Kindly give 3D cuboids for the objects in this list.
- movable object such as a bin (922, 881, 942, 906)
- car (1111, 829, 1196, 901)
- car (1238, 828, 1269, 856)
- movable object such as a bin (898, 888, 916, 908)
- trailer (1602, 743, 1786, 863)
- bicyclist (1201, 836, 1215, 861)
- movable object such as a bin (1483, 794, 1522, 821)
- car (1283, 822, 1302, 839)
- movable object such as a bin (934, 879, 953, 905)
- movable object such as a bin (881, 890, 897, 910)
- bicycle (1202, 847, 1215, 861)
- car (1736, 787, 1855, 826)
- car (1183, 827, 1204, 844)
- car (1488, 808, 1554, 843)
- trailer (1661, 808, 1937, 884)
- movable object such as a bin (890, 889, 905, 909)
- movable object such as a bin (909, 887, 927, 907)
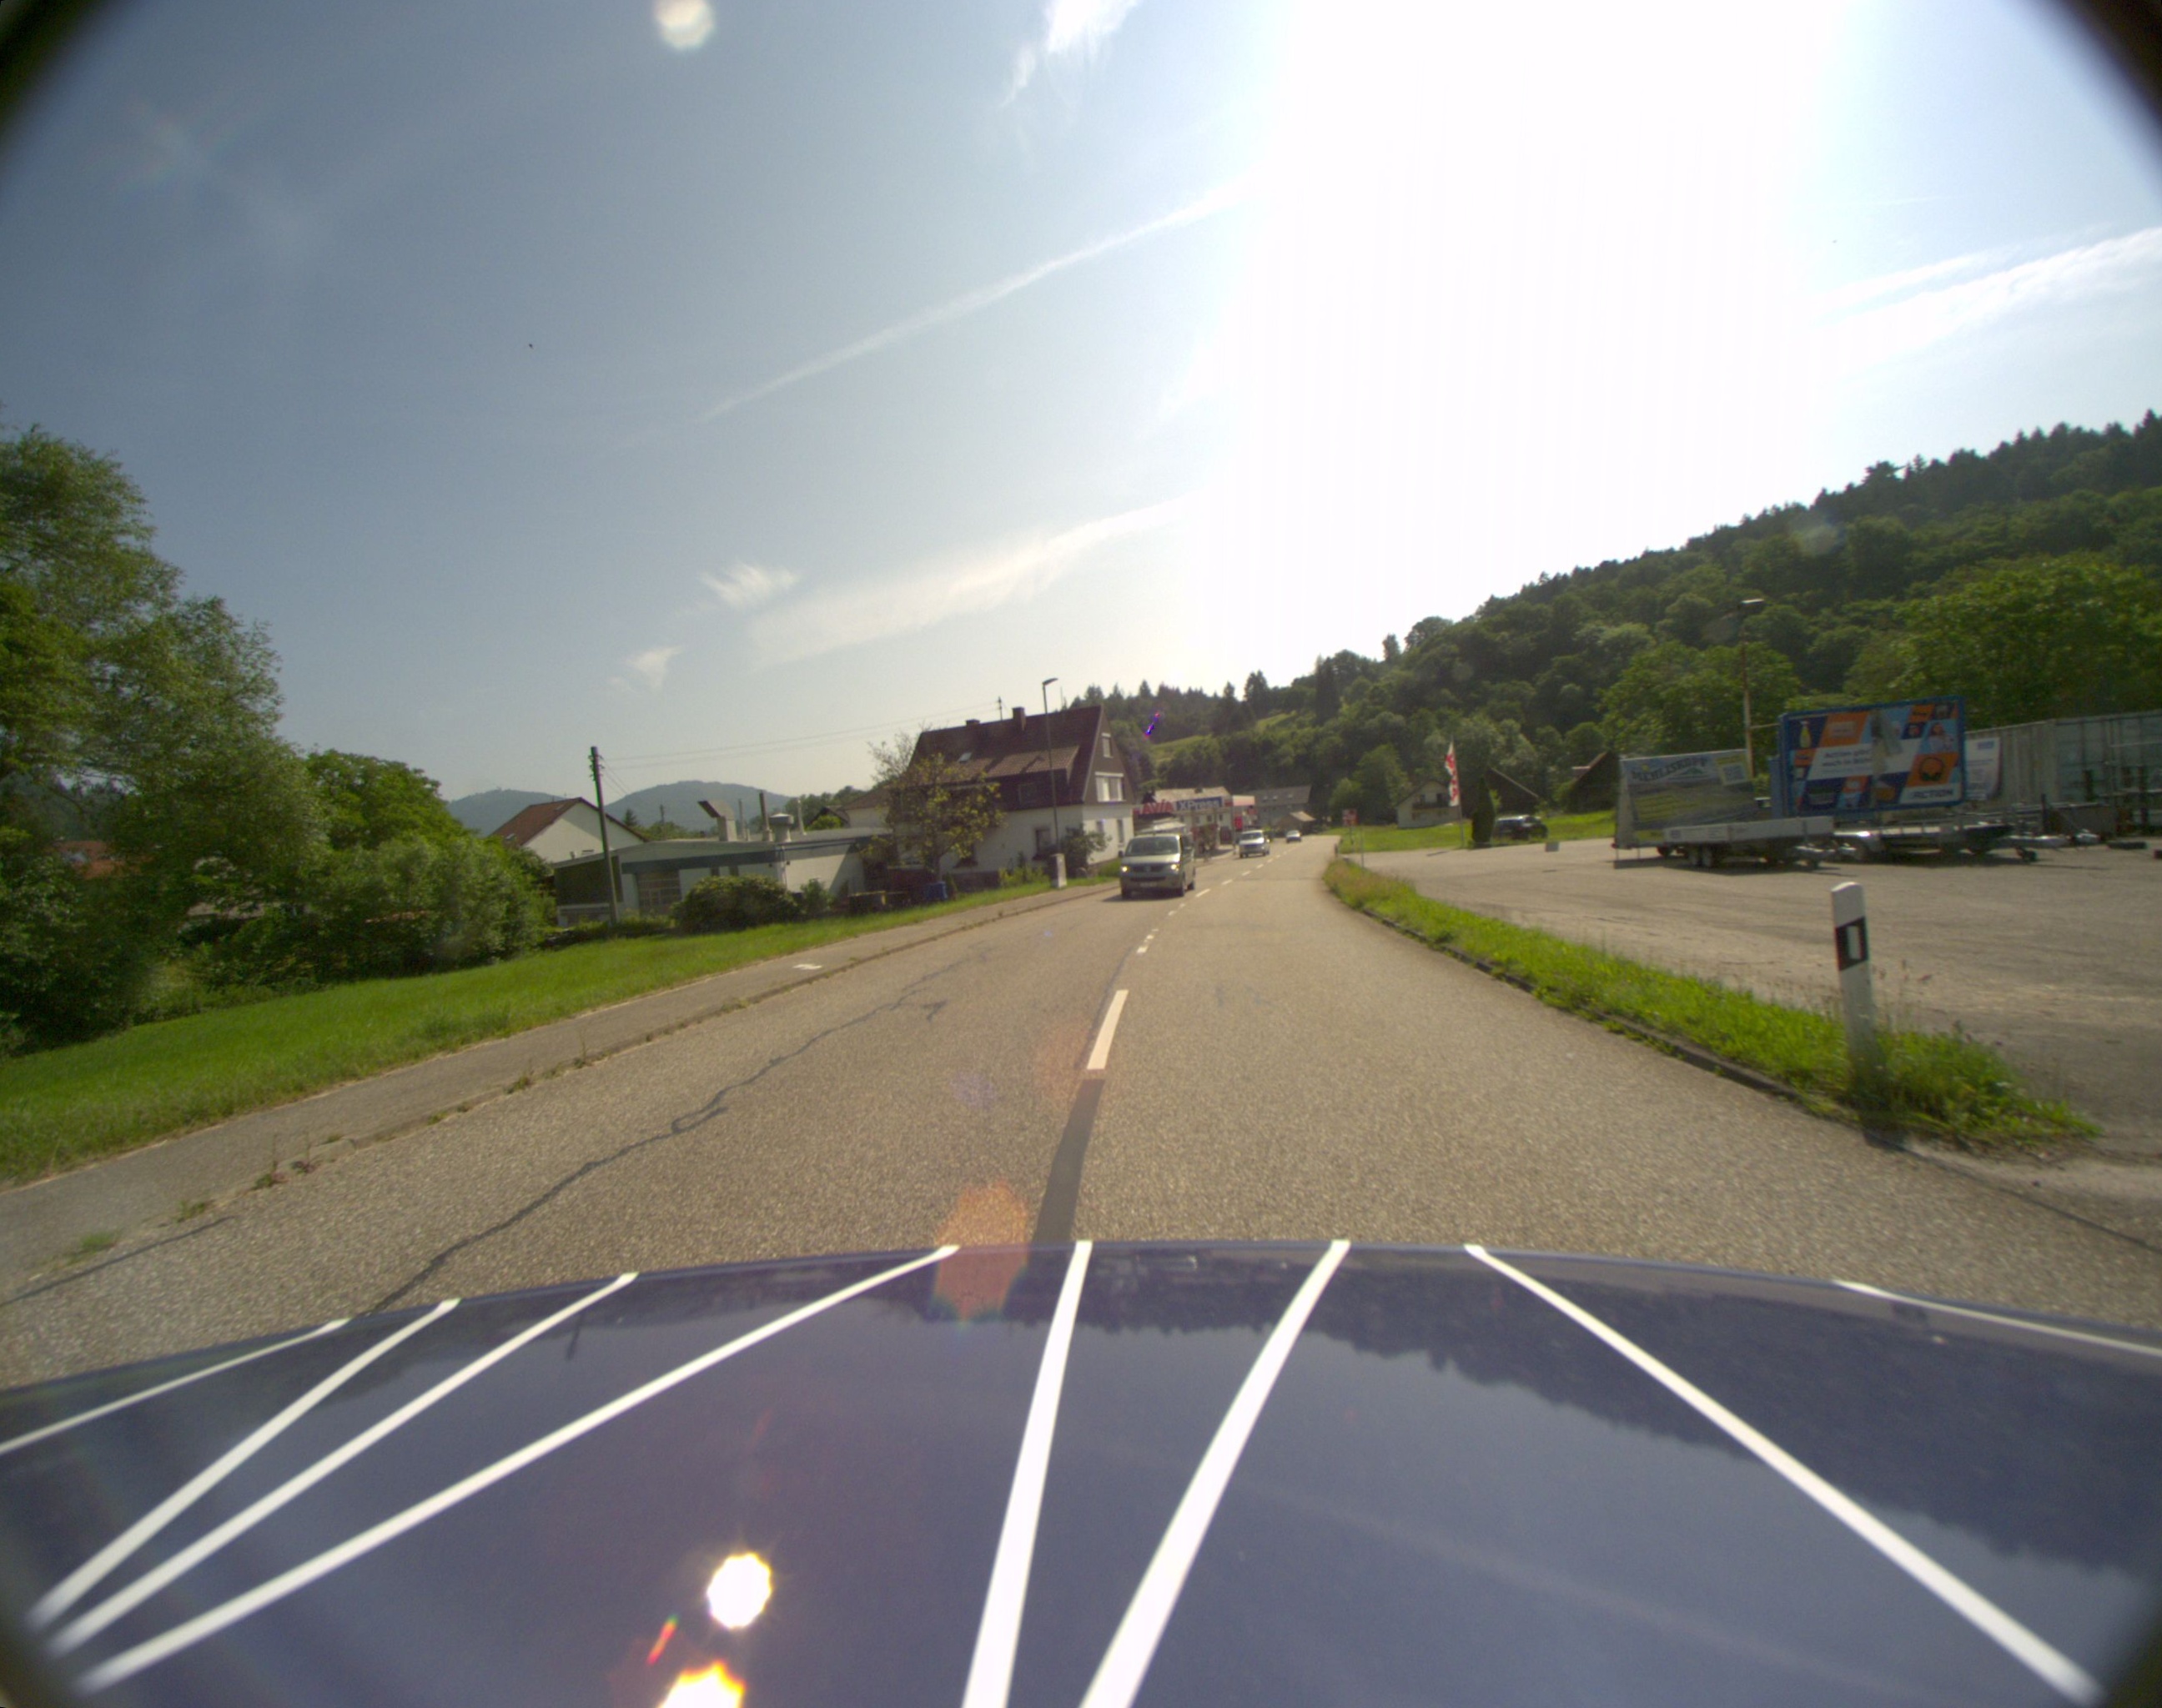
[{"bbox_3d":[-7.220,1.902,36.846,0.569,1.112,0.799,-6,2,10],"label":"movable object such as a bin"},{"bbox_3d":[2.461,0.260,24.382,2.022,1.971,5.052,-3,1,12],"label":"car"},{"bbox_3d":[12.810,-0.922,56.107,1.894,1.847,4.707,-4,1,16],"label":"car"},{"bbox_3d":[-8.485,2.153,37.046,0.569,0.895,0.586,-6,2,10],"label":"movable object such as a bin"},{"bbox_3d":[17.198,-1.375,21.508,3.397,2.895,1.885,-6,1,12],"label":"trailer"},{"bbox_3d":[8.982,-0.380,53.872,0.689,1.623,1.141,-7,-1,6],"label":"bicyclist"},{"bbox_3d":[55.188,-6.070,99.522,4.182,3.120,2.206,-4,1,34],"label":"movable object such as a bin"},{"bbox_3d":[26.281,-2.884,94.312,1.765,1.736,3.983,-5,3,21],"label":"car"},{"bbox_3d":[-6.638,1.837,36.752,0.569,1.112,0.793,-6,2,10],"label":"movable object such as a bin"},{"bbox_3d":[-9.398,2.254,37.223,0.419,0.895,0.586,-6,2,10],"label":"movable object such as a bin"},{"bbox_3d":[9.013,-0.001,53.865,0.689,0.912,1.951,-7,-1,6],"label":"bicycle"},{"bbox_3d":[35.022,-2.299,37.386,3.923,1.476,1.920,-5,1,33],"label":"car"},{"bbox_3d":[14.008,-2.337,94.598,1.682,1.805,4.003,-6,2,19],"label":"car"},{"bbox_3d":[25.394,-1.670,43.755,4.916,1.639,1.832,-5,1,-43],"label":"car"},{"bbox_3d":[15.491,-0.252,16.958,1.997,1.219,5.550,-6,1,15],"label":"trailer"},{"bbox_3d":[-8.975,2.207,37.143,0.419,0.895,0.586,-6,2,10],"label":"movable object such as a bin"},{"bbox_3d":[-7.906,2.088,36.952,0.569,0.895,0.586,-6,2,10],"label":"movable object such as a bin"}]
